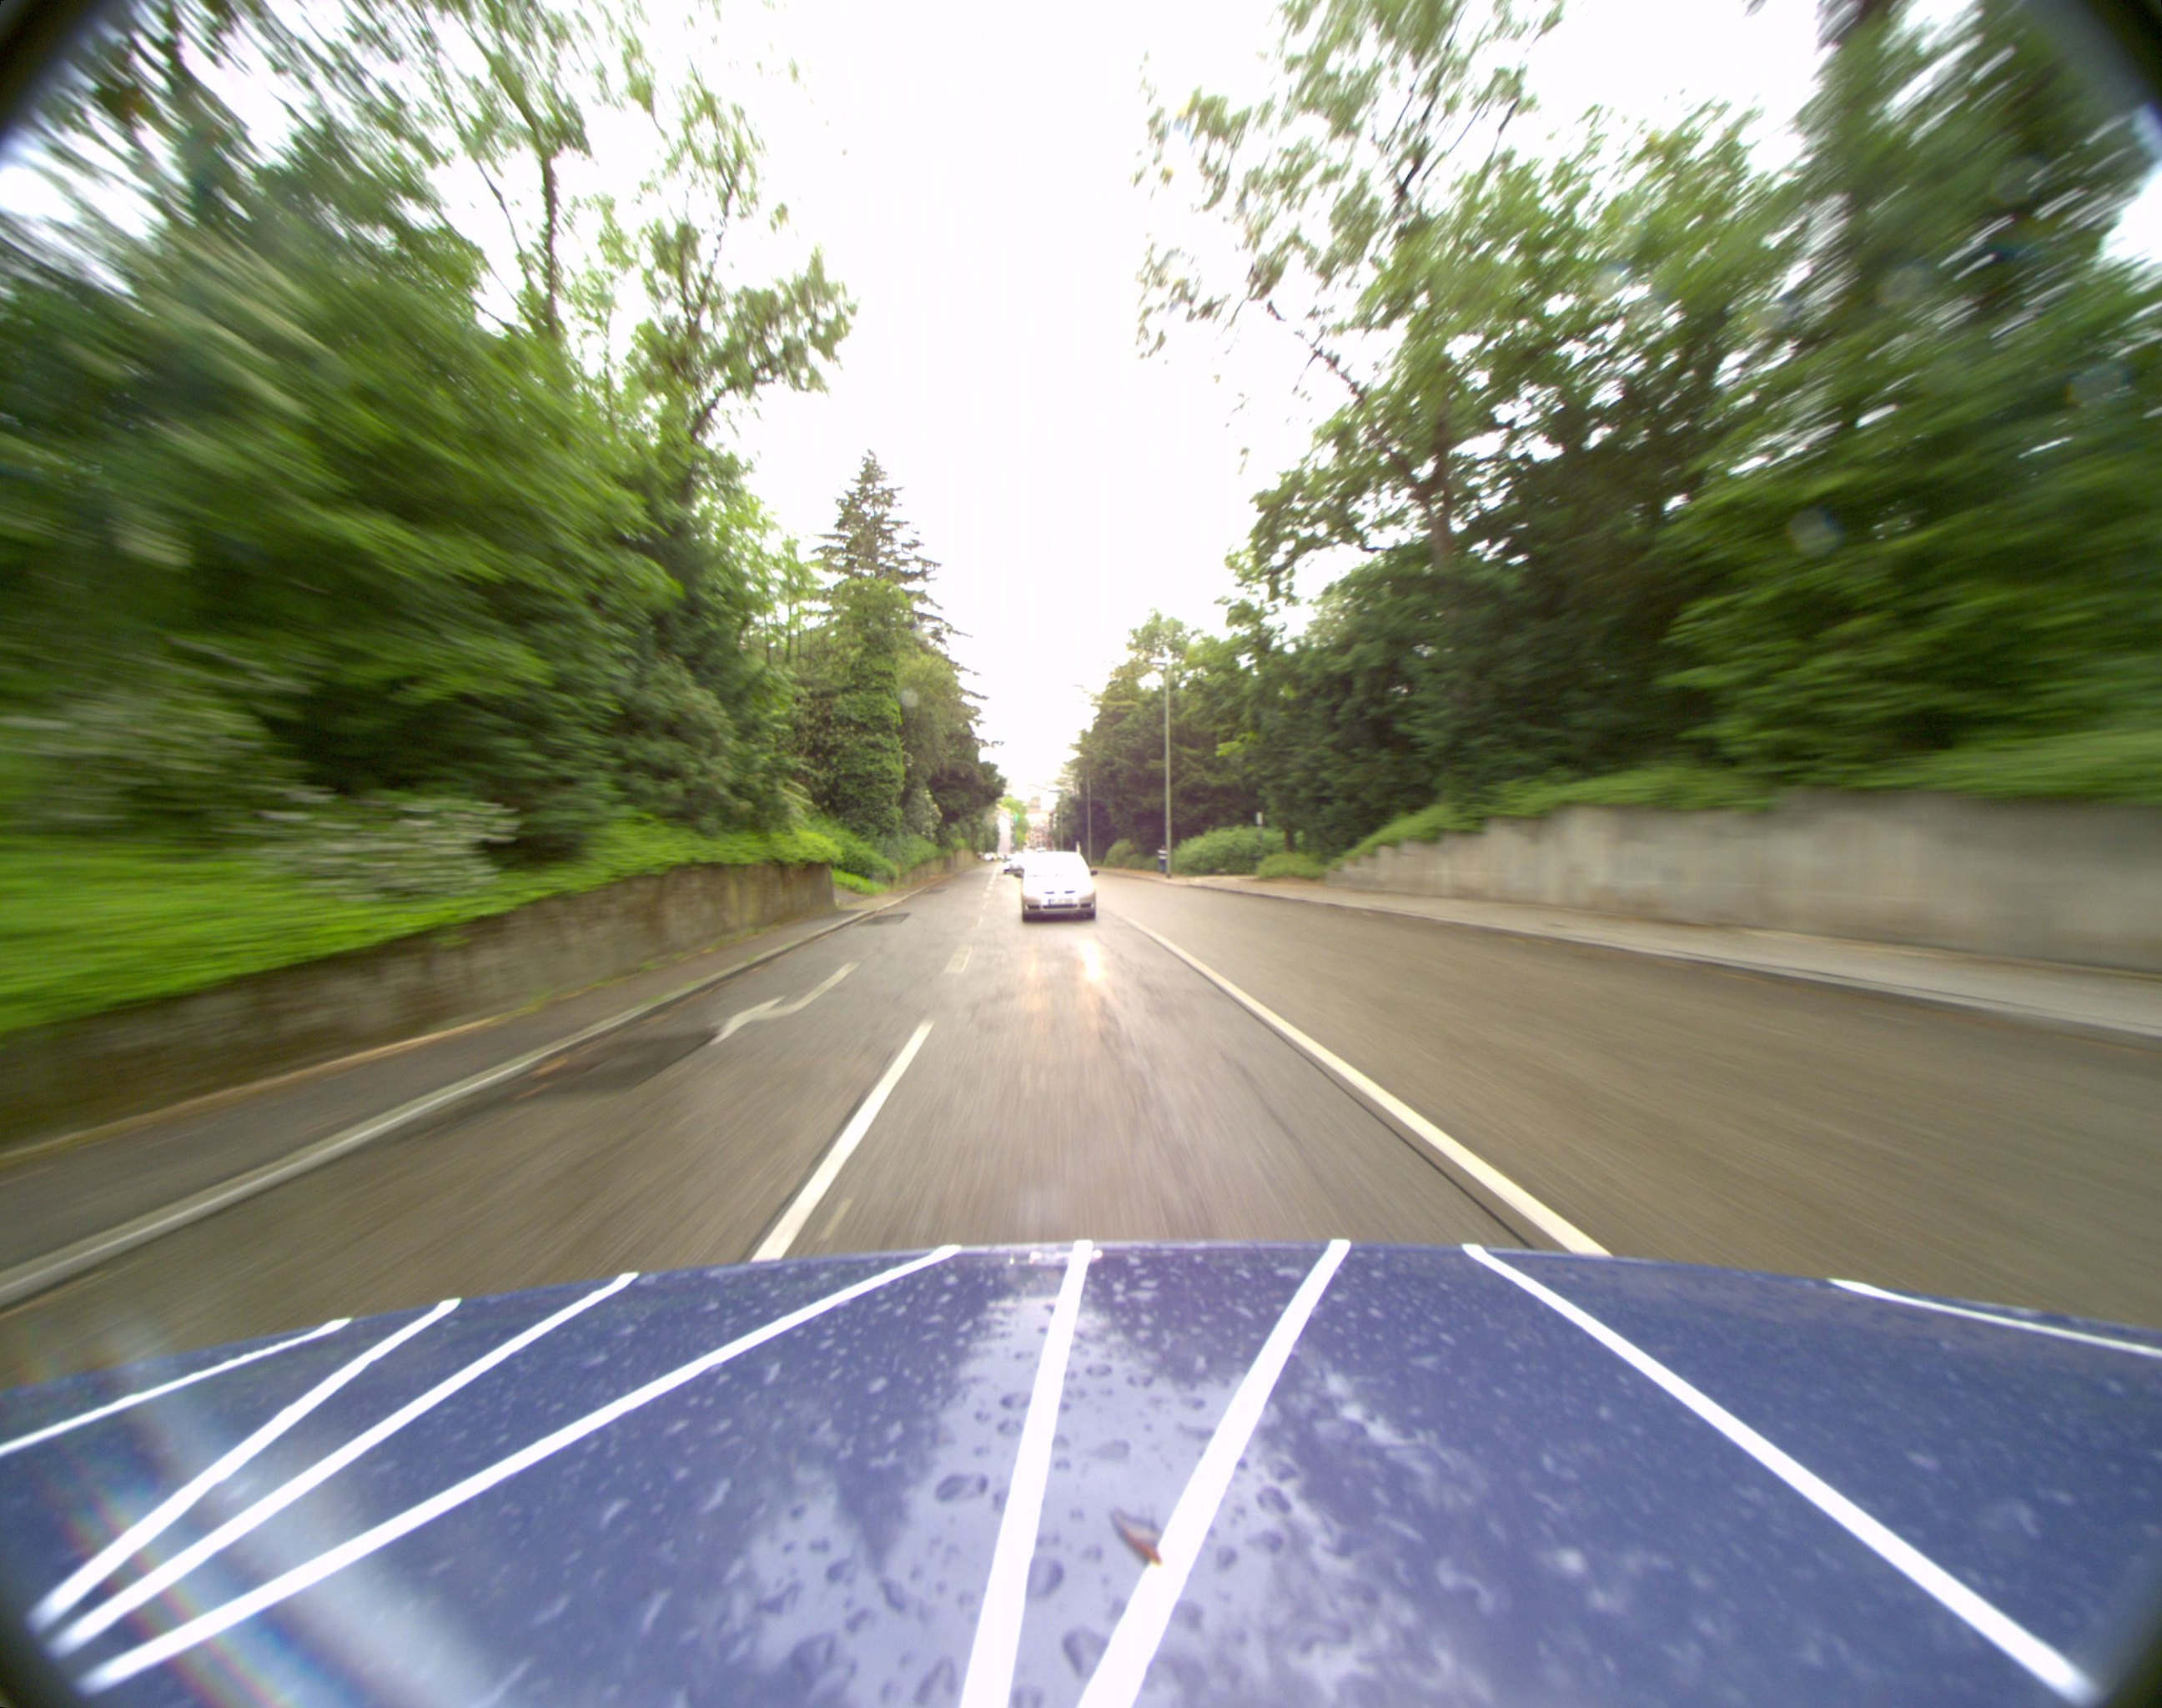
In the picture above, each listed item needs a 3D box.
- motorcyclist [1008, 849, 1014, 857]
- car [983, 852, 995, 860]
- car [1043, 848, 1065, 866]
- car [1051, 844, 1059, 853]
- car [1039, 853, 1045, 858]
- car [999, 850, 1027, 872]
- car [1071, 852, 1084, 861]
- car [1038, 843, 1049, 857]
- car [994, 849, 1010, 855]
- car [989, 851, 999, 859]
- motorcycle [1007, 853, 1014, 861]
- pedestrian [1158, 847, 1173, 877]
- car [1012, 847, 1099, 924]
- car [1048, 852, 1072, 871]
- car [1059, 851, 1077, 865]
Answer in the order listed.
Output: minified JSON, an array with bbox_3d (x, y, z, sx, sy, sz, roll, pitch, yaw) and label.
[{"bbox_3d":[-10.397,-0.142,112.171,0.779,1.120,0.549,-3,1,-1],"label":"motorcyclist"},{"bbox_3d":[-17.281,0.335,142.422,1.743,1.469,4.738,1,0,-2],"label":"car"},{"bbox_3d":[-2.710,0.295,75.624,1.836,1.701,3.997,-2,1,-7],"label":"car"},{"bbox_3d":[-7.338,-1.576,211.144,2.123,2.536,5.442,1,0,-3],"label":"car"},{"bbox_3d":[-11.357,0.369,223.349,1.765,1.482,3.999,-1,0,-2],"label":"car"},{"bbox_3d":[-5.178,0.510,58.344,1.999,1.603,3.965,-1,1,-4],"label":"car"},{"bbox_3d":[-0.643,0.383,122.368,1.727,1.450,4.394,-1,0,-5],"label":"car"},{"bbox_3d":[-7.198,-0.711,145.792,2.123,2.536,5.442,1,0,-3],"label":"car"},{"bbox_3d":[-21.115,-0.480,202.828,4.195,1.565,1.803,2,0,-3],"label":"car"},{"bbox_3d":[-17.543,0.226,153.129,1.770,1.614,4.677,-1,1,-4],"label":"car"},{"bbox_3d":[-10.371,0.367,112.289,0.779,1.120,2.298,-3,1,-1],"label":"motorcycle"},{"bbox_3d":[4.666,0.462,42.145,0.707,1.635,0.713,-2,1,1],"label":"pedestrian"},{"bbox_3d":[-0.554,0.656,18.487,1.826,1.603,4.188,-2,1,0],"label":"car"},{"bbox_3d":[-1.822,0.593,64.233,1.680,1.487,3.458,-2,1,-6],"label":"car"},{"bbox_3d":[-1.530,0.463,89.957,1.631,1.490,3.925,-3,1,-8],"label":"car"}]
